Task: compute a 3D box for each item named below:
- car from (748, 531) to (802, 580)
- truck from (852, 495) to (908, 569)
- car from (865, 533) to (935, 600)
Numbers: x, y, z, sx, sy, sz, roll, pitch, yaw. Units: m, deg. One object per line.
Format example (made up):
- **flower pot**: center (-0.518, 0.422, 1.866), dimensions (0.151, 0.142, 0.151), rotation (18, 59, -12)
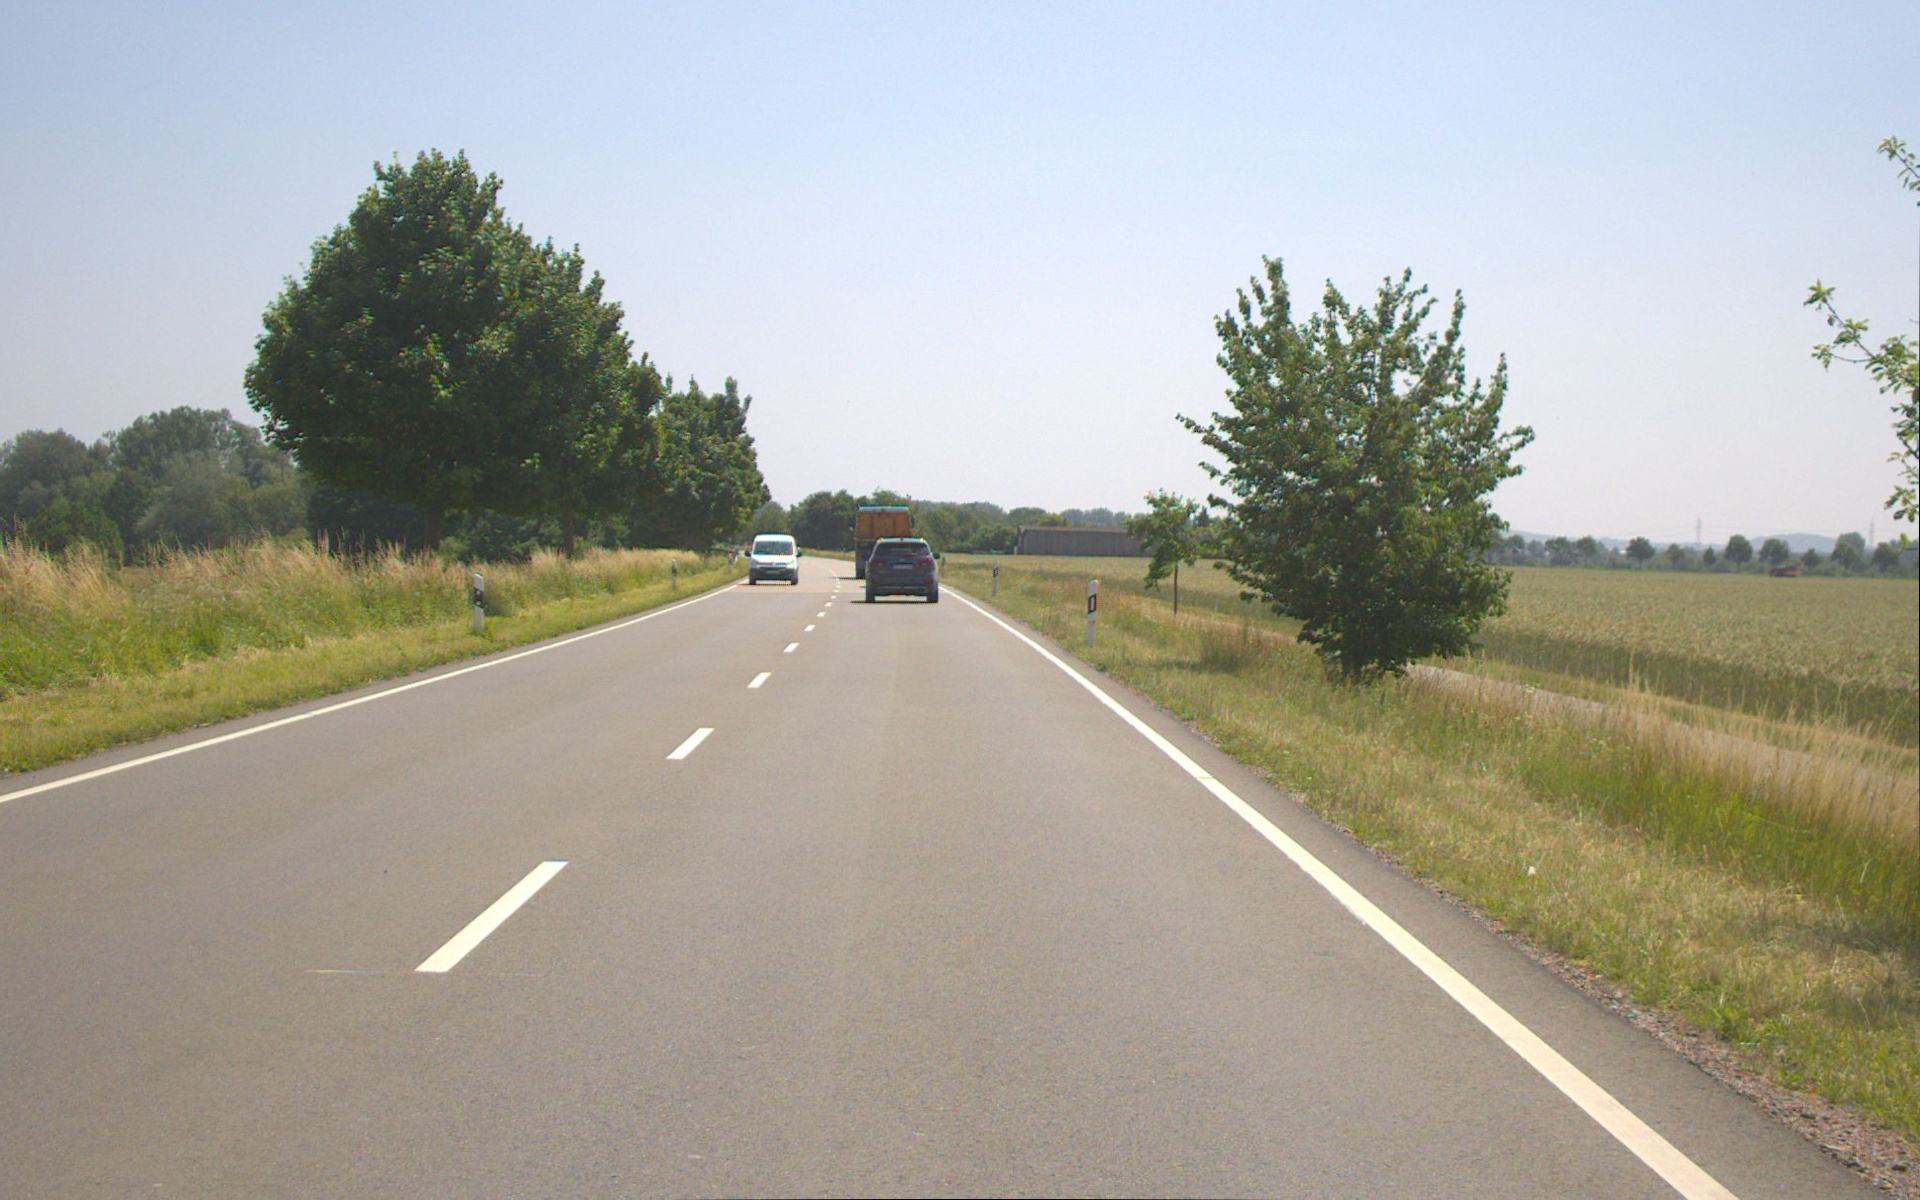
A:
- **car**: center (-6.749, -1.627, 125.745), dimensions (1.787, 1.722, 4.304), rotation (1, 1, -1)
- **truck**: center (-3.518, -2.946, 150.706), dimensions (2.370, 3.129, 8.748), rotation (1, 1, -2)
- **car**: center (-1.548, -0.876, 89.608), dimensions (1.714, 1.688, 3.989), rotation (1, 1, 0)
